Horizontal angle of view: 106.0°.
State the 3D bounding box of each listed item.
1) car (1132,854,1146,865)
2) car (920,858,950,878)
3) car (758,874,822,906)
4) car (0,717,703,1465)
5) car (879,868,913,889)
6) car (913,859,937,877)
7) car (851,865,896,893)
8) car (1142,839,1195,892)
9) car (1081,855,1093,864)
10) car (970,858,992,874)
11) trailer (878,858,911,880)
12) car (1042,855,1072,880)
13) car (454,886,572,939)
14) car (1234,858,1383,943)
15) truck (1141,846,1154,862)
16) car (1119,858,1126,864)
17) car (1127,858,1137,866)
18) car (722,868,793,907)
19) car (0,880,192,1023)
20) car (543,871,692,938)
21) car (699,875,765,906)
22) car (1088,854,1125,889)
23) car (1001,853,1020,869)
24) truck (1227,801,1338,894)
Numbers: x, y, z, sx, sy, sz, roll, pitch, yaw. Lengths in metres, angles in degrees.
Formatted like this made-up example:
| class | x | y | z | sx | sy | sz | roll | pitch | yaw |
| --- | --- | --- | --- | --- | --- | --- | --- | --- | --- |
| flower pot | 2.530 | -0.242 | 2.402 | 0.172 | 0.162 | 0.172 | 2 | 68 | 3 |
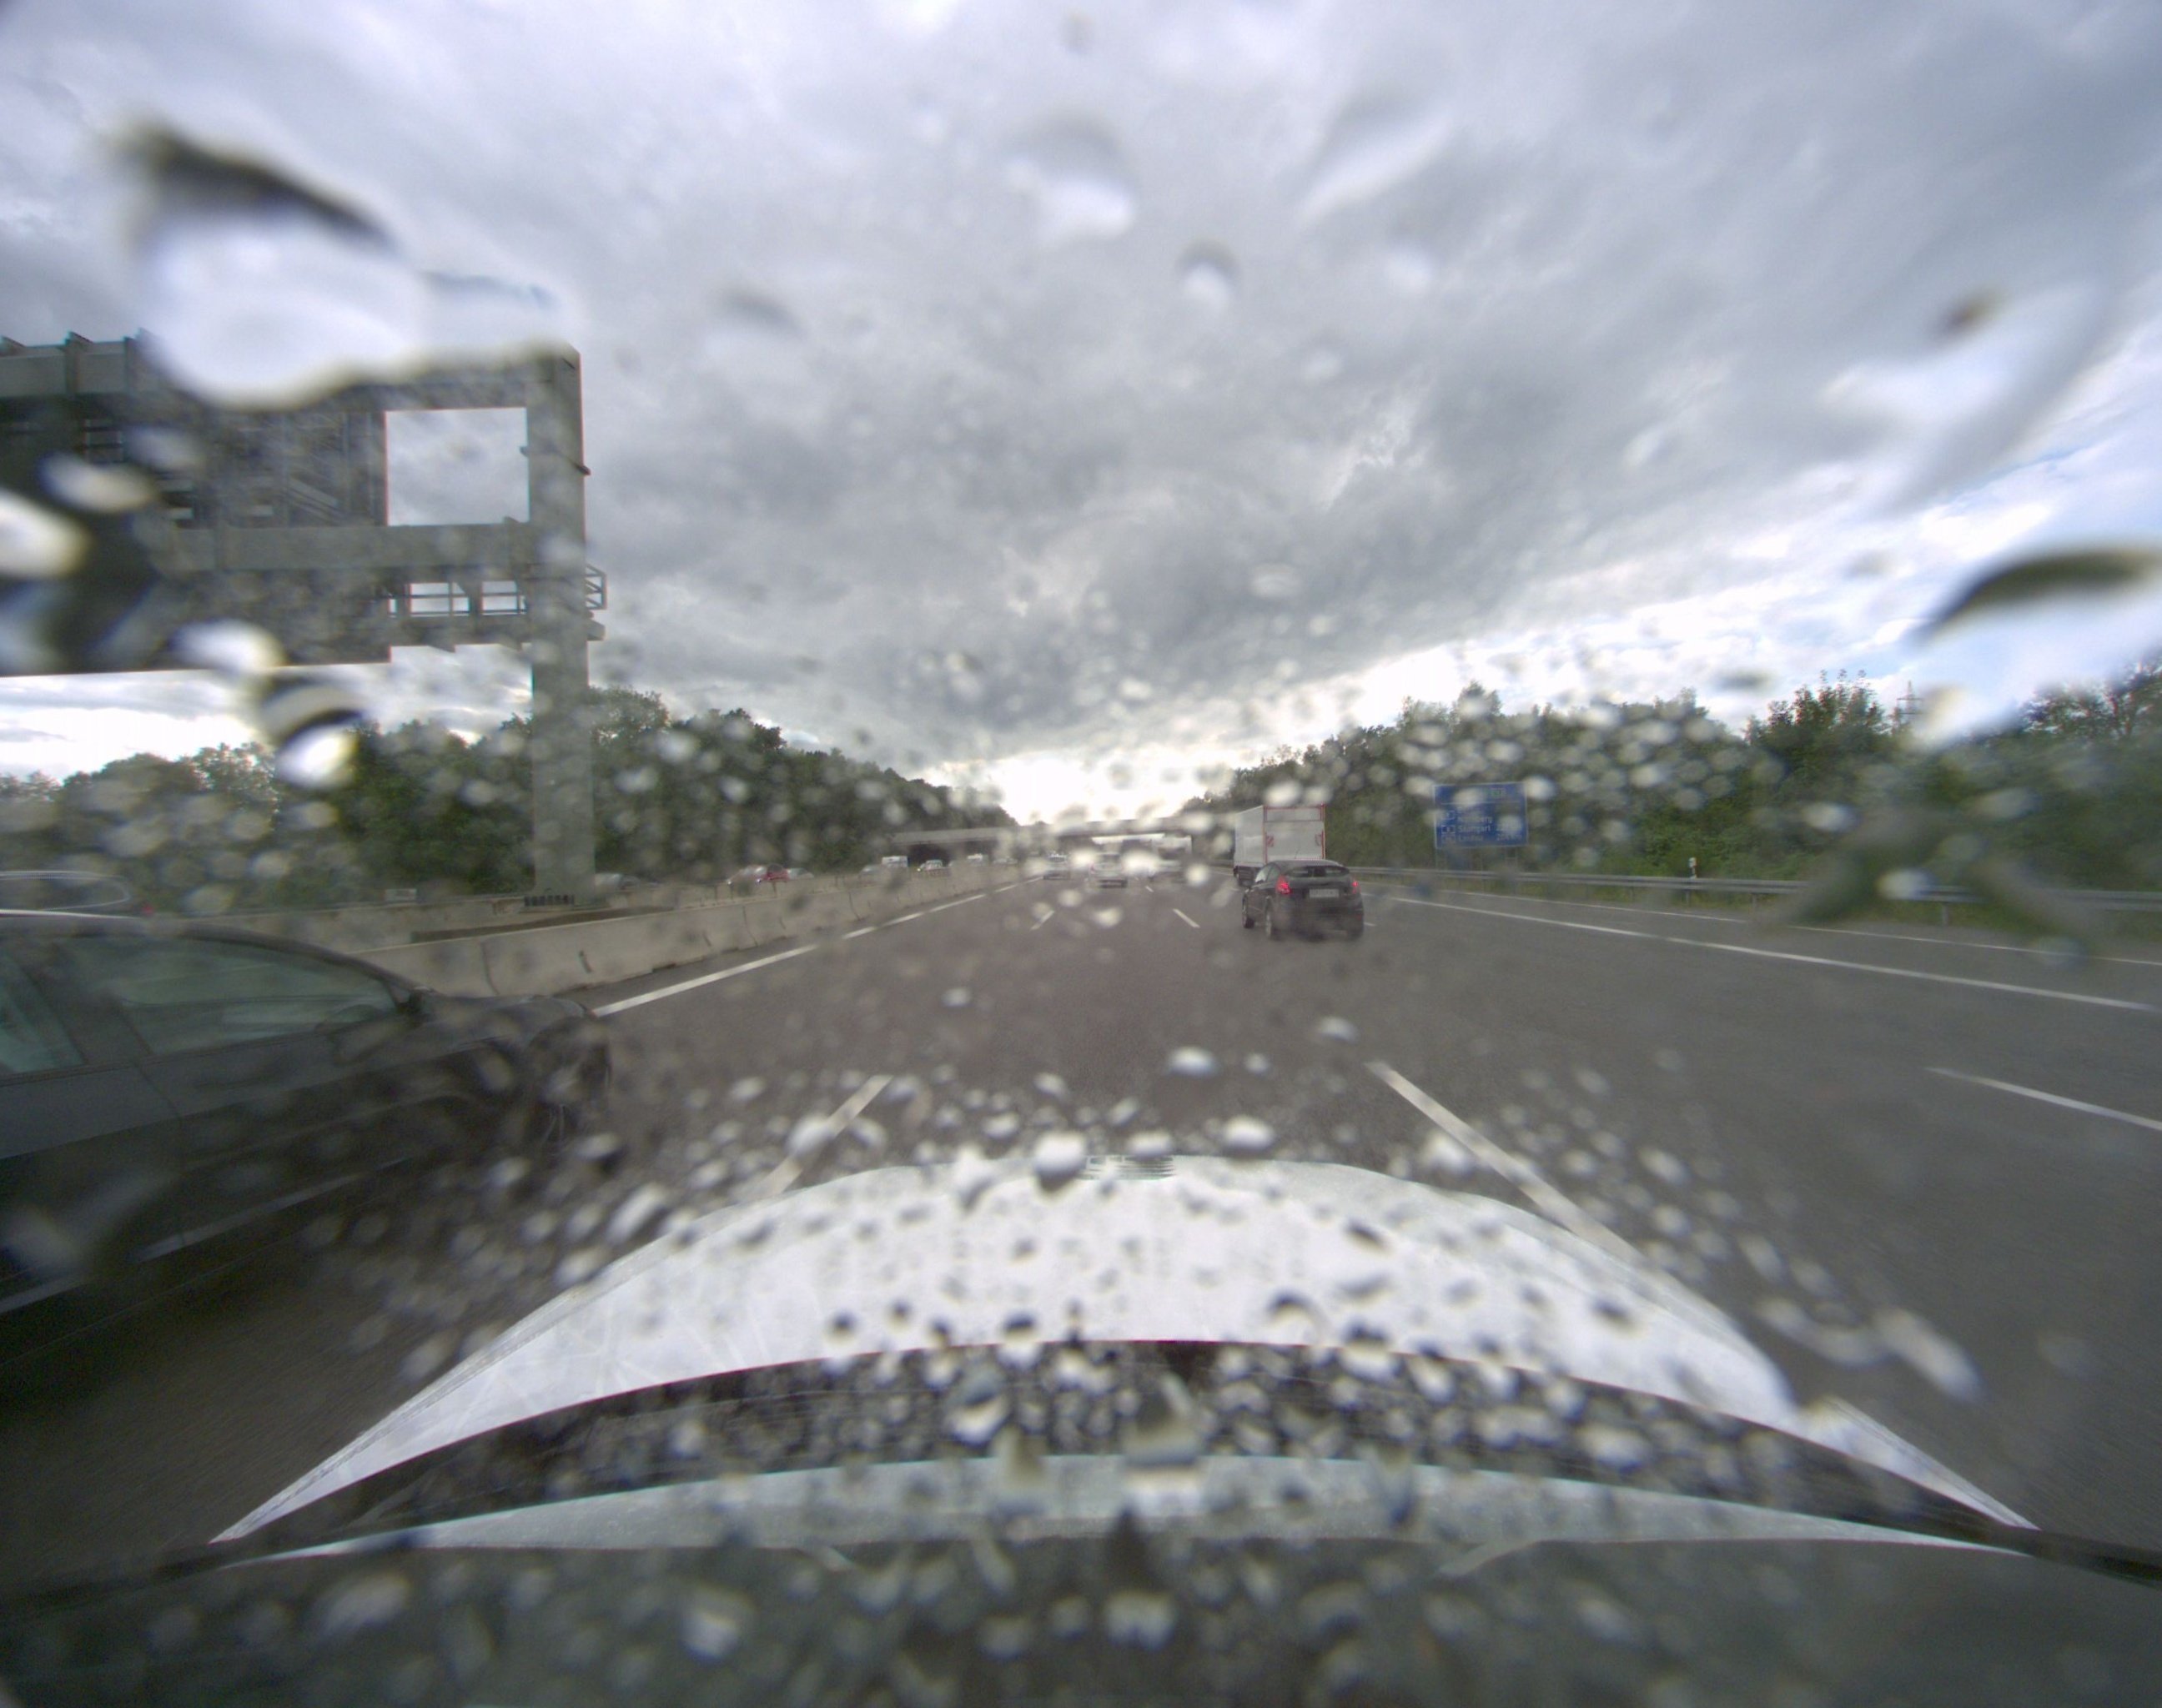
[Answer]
| class | x | y | z | sx | sy | sz | roll | pitch | yaw |
| --- | --- | --- | --- | --- | --- | --- | --- | --- | --- |
| car | 9.638 | 0.922 | 135.298 | 2.035 | 1.823 | 4.906 | -1 | 0 | 2 |
| car | -15.054 | 1.412 | 84.344 | 1.986 | 1.952 | 5.228 | -1 | 0 | 2 |
| car | -19.491 | 2.383 | 54.912 | 2.233 | 1.952 | 5.228 | -1 | 0 | 2 |
| car | -3.607 | 0.593 | 2.873 | 1.986 | 1.821 | 5.164 | -1 | 0 | 2 |
| car | -18.530 | 2.459 | 81.883 | 1.986 | 1.952 | 5.228 | -1 | 0 | 2 |
| car | -18.106 | 1.584 | 94.558 | 1.810 | 2.013 | 4.002 | -1 | 0 | 2 |
| car | -15.931 | 1.904 | 62.740 | 1.986 | 2.013 | 4.767 | -1 | 0 | 2 |
| car | 5.170 | 0.666 | 49.097 | 2.557 | 2.895 | 7.536 | -1 | 0 | 2 |
| car | 0.963 | 0.876 | 131.877 | 1.774 | 1.481 | 4.354 | -1 | 0 | 2 |
| car | -13.603 | 1.662 | 110.986 | 1.986 | 2.082 | 5.651 | -1 | 0 | 2 |
| trailer | -21.766 | 1.699 | 95.197 | 2.233 | 2.375 | 5.787 | -1 | 0 | 2 |
| car | -1.663 | 0.924 | 57.897 | 1.809 | 1.689 | 4.853 | -1 | 0 | 1 |
| car | -25.031 | 2.506 | 36.121 | 1.901 | 2.013 | 4.563 | -1 | 0 | 2 |
| car | 4.270 | 0.810 | 15.994 | 1.877 | 1.407 | 4.285 | -1 | 0 | 2 |
| truck | 16.277 | -0.063 | 200.186 | 2.894 | 3.810 | 7.278 | -1 | 0 | 2 |
| car | 12.300 | 2.052 | 243.457 | 1.876 | 1.686 | 3.998 | -1 | 0 | -1 |
| car | 11.131 | 1.712 | 179.026 | 2.035 | 1.823 | 4.906 | -1 | 0 | 2 |
| car | -16.295 | 1.644 | 41.256 | 1.672 | 1.745 | 4.339 | -1 | 0 | 2 |
| car | -16.842 | 1.482 | 12.076 | 1.986 | 2.013 | 4.762 | -1 | 0 | 2 |
| car | -12.627 | 1.314 | 22.504 | 1.722 | 1.596 | 4.002 | -1 | 0 | 2 |
| car | -24.528 | 2.552 | 57.526 | 2.233 | 1.952 | 5.228 | -1 | 0 | 2 |
| car | 1.357 | 0.855 | 41.907 | 1.774 | 1.716 | 4.355 | -1 | 0 | 2 |
| car | -10.071 | 0.992 | 116.470 | 1.986 | 2.181 | 5.292 | -1 | 0 | 2 |
| truck | 8.975 | -0.240 | 37.621 | 3.120 | 3.709 | 9.854 | -1 | 0 | 3 |
